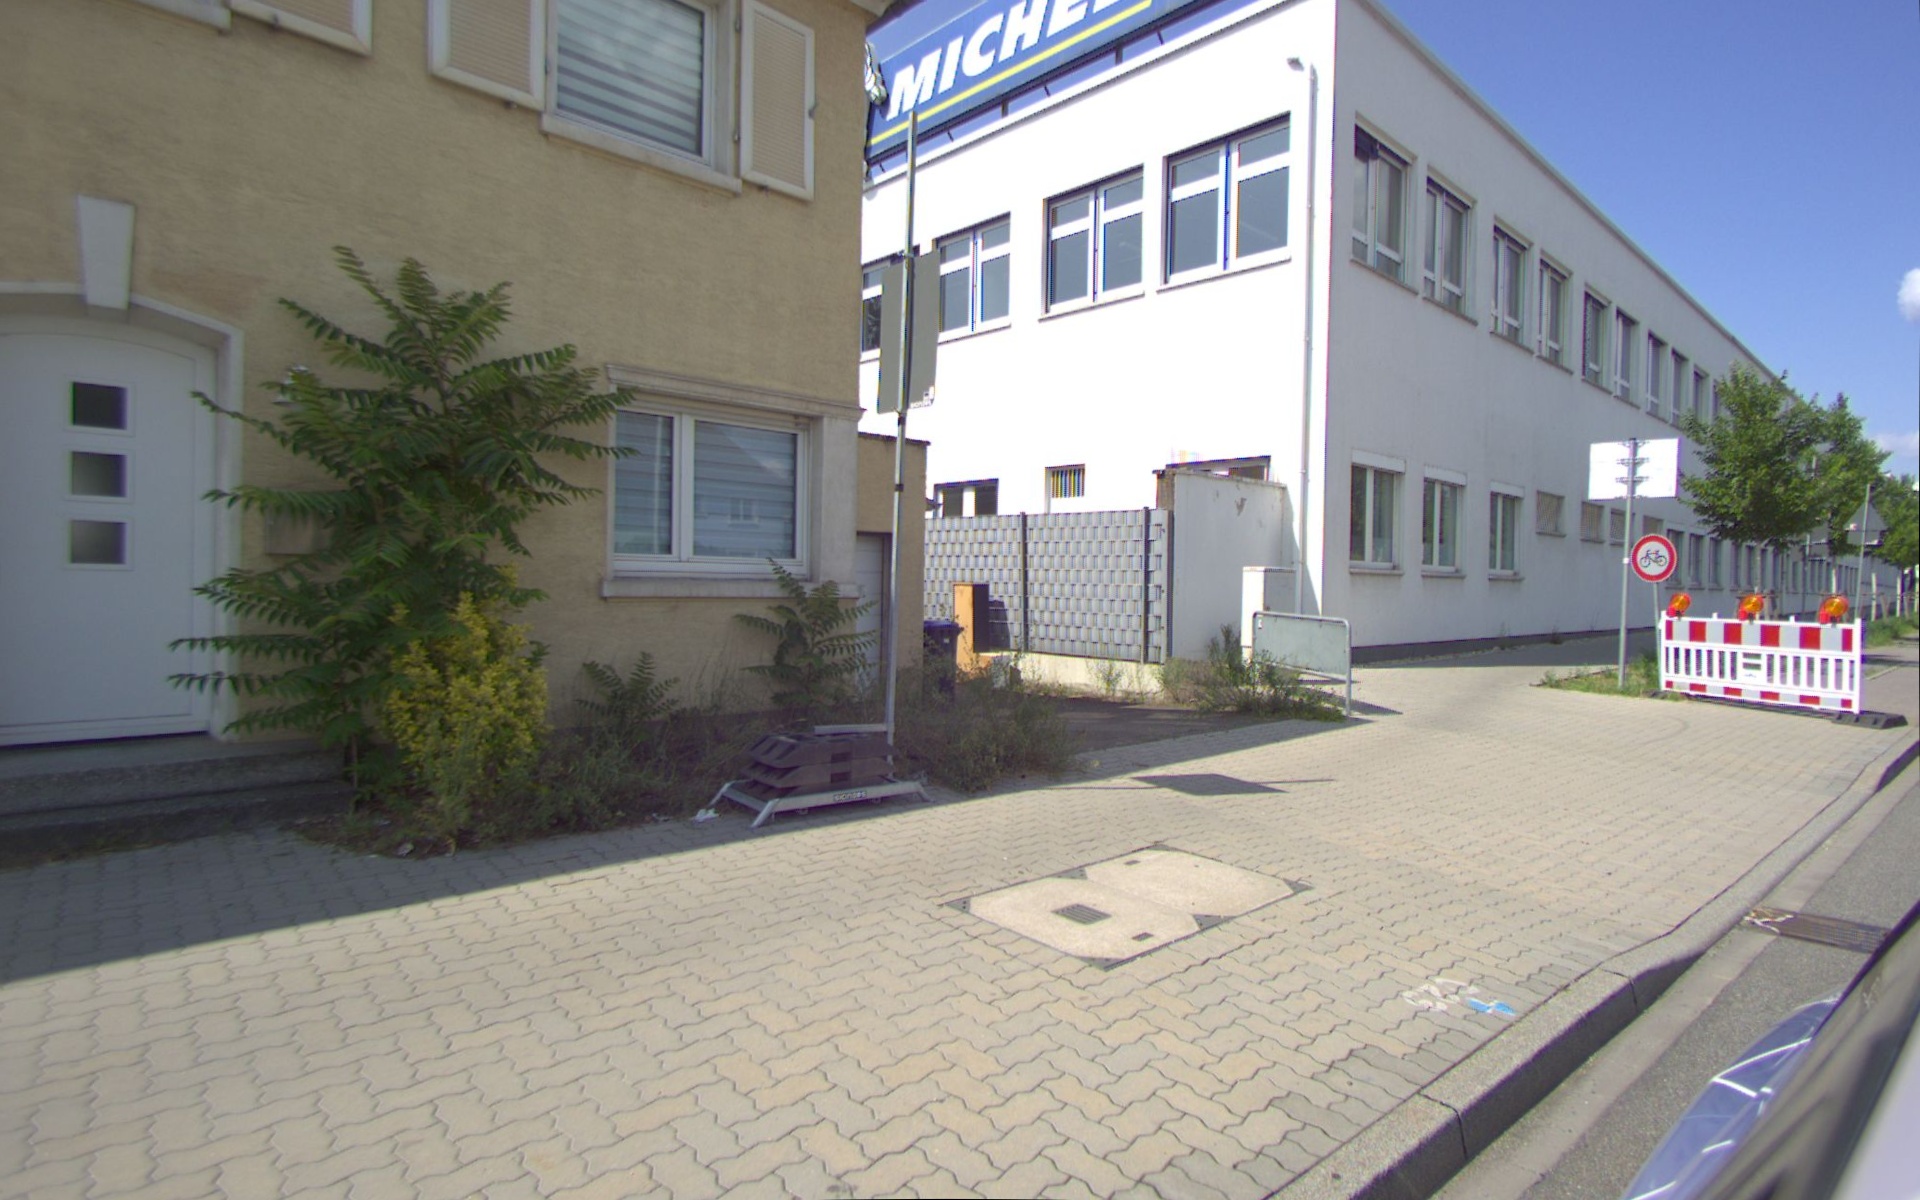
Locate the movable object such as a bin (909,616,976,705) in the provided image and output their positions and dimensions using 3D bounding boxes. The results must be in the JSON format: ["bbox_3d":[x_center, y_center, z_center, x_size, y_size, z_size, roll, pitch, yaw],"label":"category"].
[{"bbox_3d":[-0.234,0.779,13.284,0.654,1.101,0.616,-1,0,-32],"label":"movable object such as a bin"}]
